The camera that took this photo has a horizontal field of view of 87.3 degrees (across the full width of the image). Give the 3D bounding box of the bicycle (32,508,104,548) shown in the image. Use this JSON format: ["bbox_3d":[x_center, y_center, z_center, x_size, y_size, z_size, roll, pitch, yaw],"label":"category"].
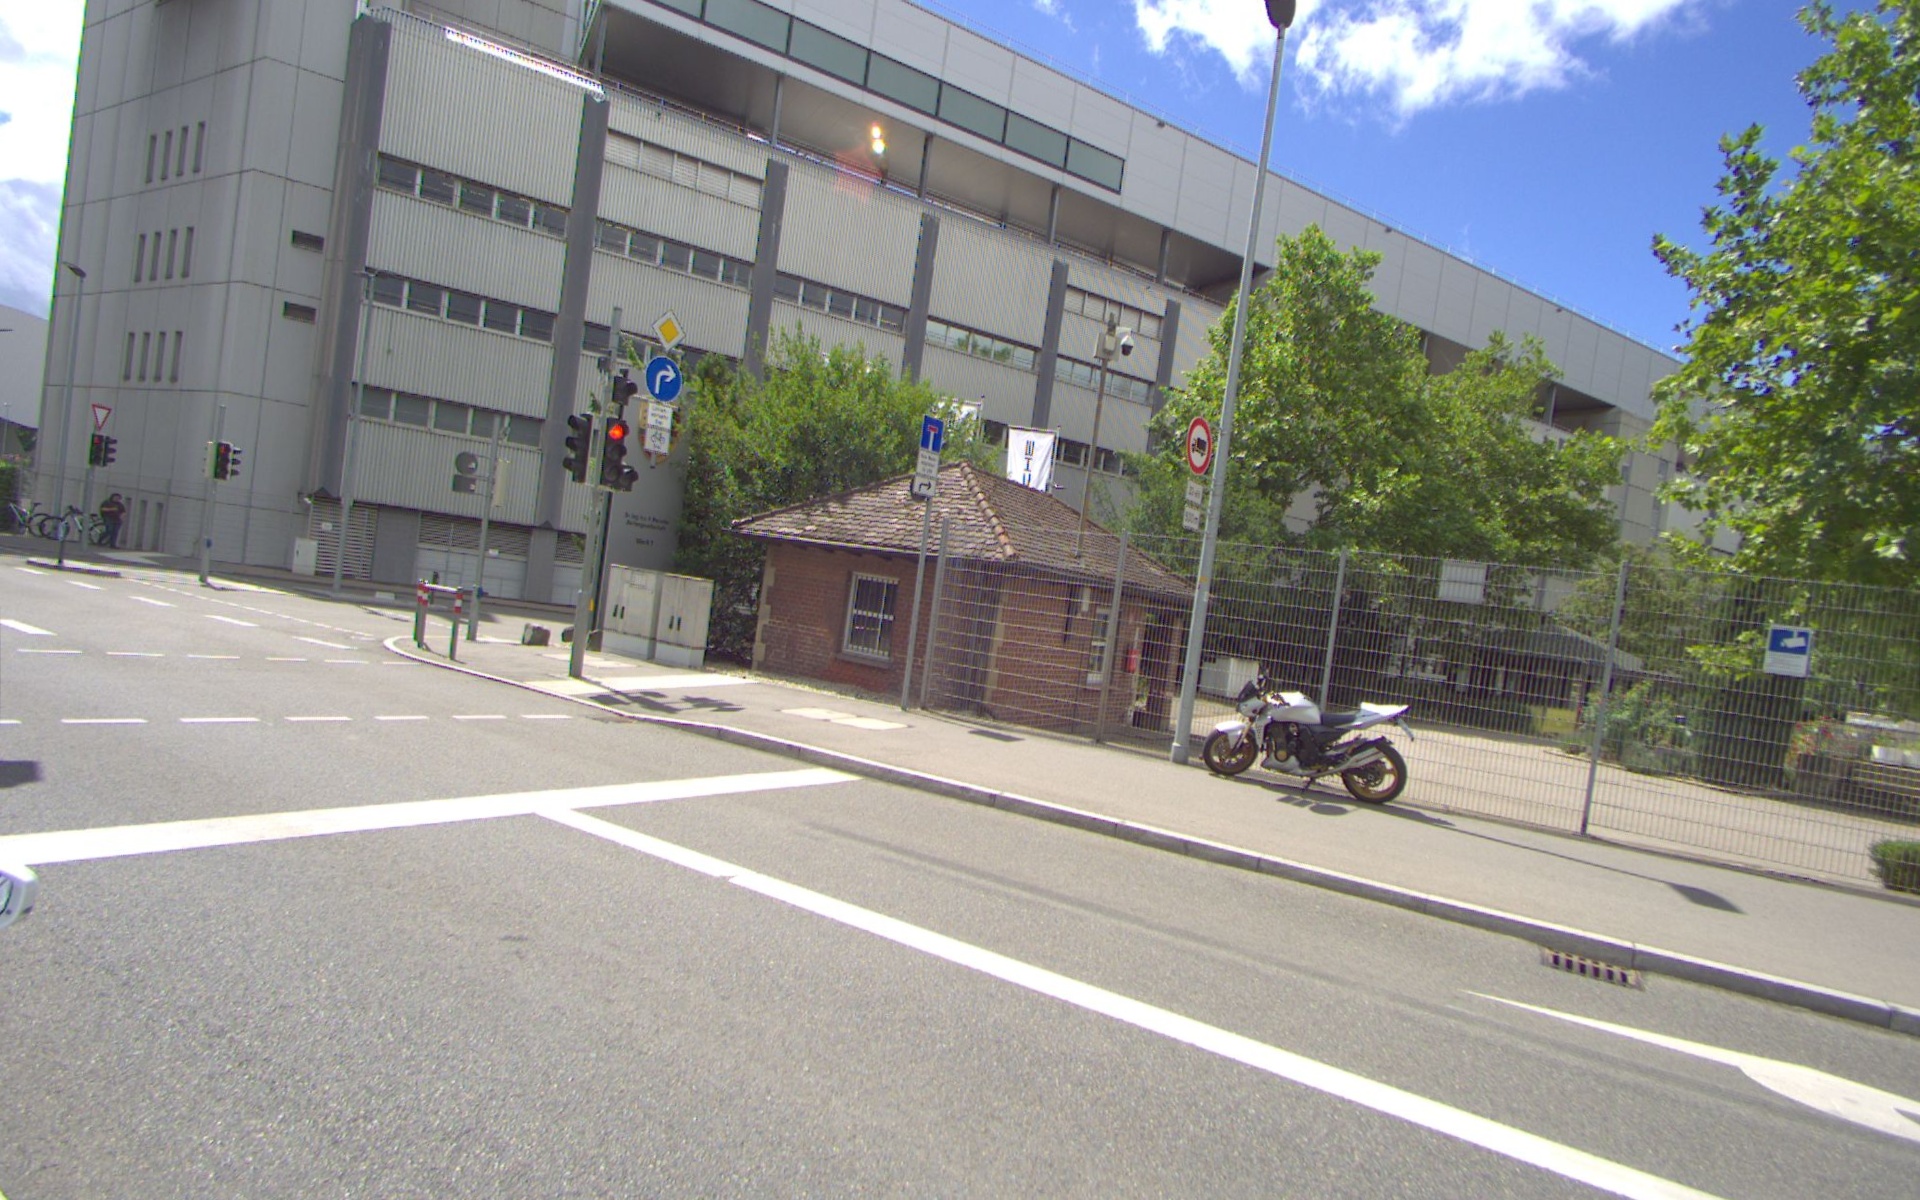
[{"bbox_3d":[-27.255,-2.198,30.753,1.892,0.948,0.399,7,0,6],"label":"bicycle"}]

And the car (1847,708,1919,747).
[{"bbox_3d":[53.050,7.279,56.782,1.979,1.803,3.971,8,-2,-30],"label":"car"}]

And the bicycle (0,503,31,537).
[{"bbox_3d":[-29.680,-2.532,31.068,1.891,0.948,0.399,7,0,13],"label":"bicycle"}]

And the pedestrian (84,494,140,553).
[{"bbox_3d":[-25.866,-2.323,30.710,0.837,1.644,0.953,7,0,-17],"label":"pedestrian"}]

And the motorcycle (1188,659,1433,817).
[{"bbox_3d":[3.452,1.307,9.984,2.110,1.173,0.693,7,2,27],"label":"motorcycle"}]
